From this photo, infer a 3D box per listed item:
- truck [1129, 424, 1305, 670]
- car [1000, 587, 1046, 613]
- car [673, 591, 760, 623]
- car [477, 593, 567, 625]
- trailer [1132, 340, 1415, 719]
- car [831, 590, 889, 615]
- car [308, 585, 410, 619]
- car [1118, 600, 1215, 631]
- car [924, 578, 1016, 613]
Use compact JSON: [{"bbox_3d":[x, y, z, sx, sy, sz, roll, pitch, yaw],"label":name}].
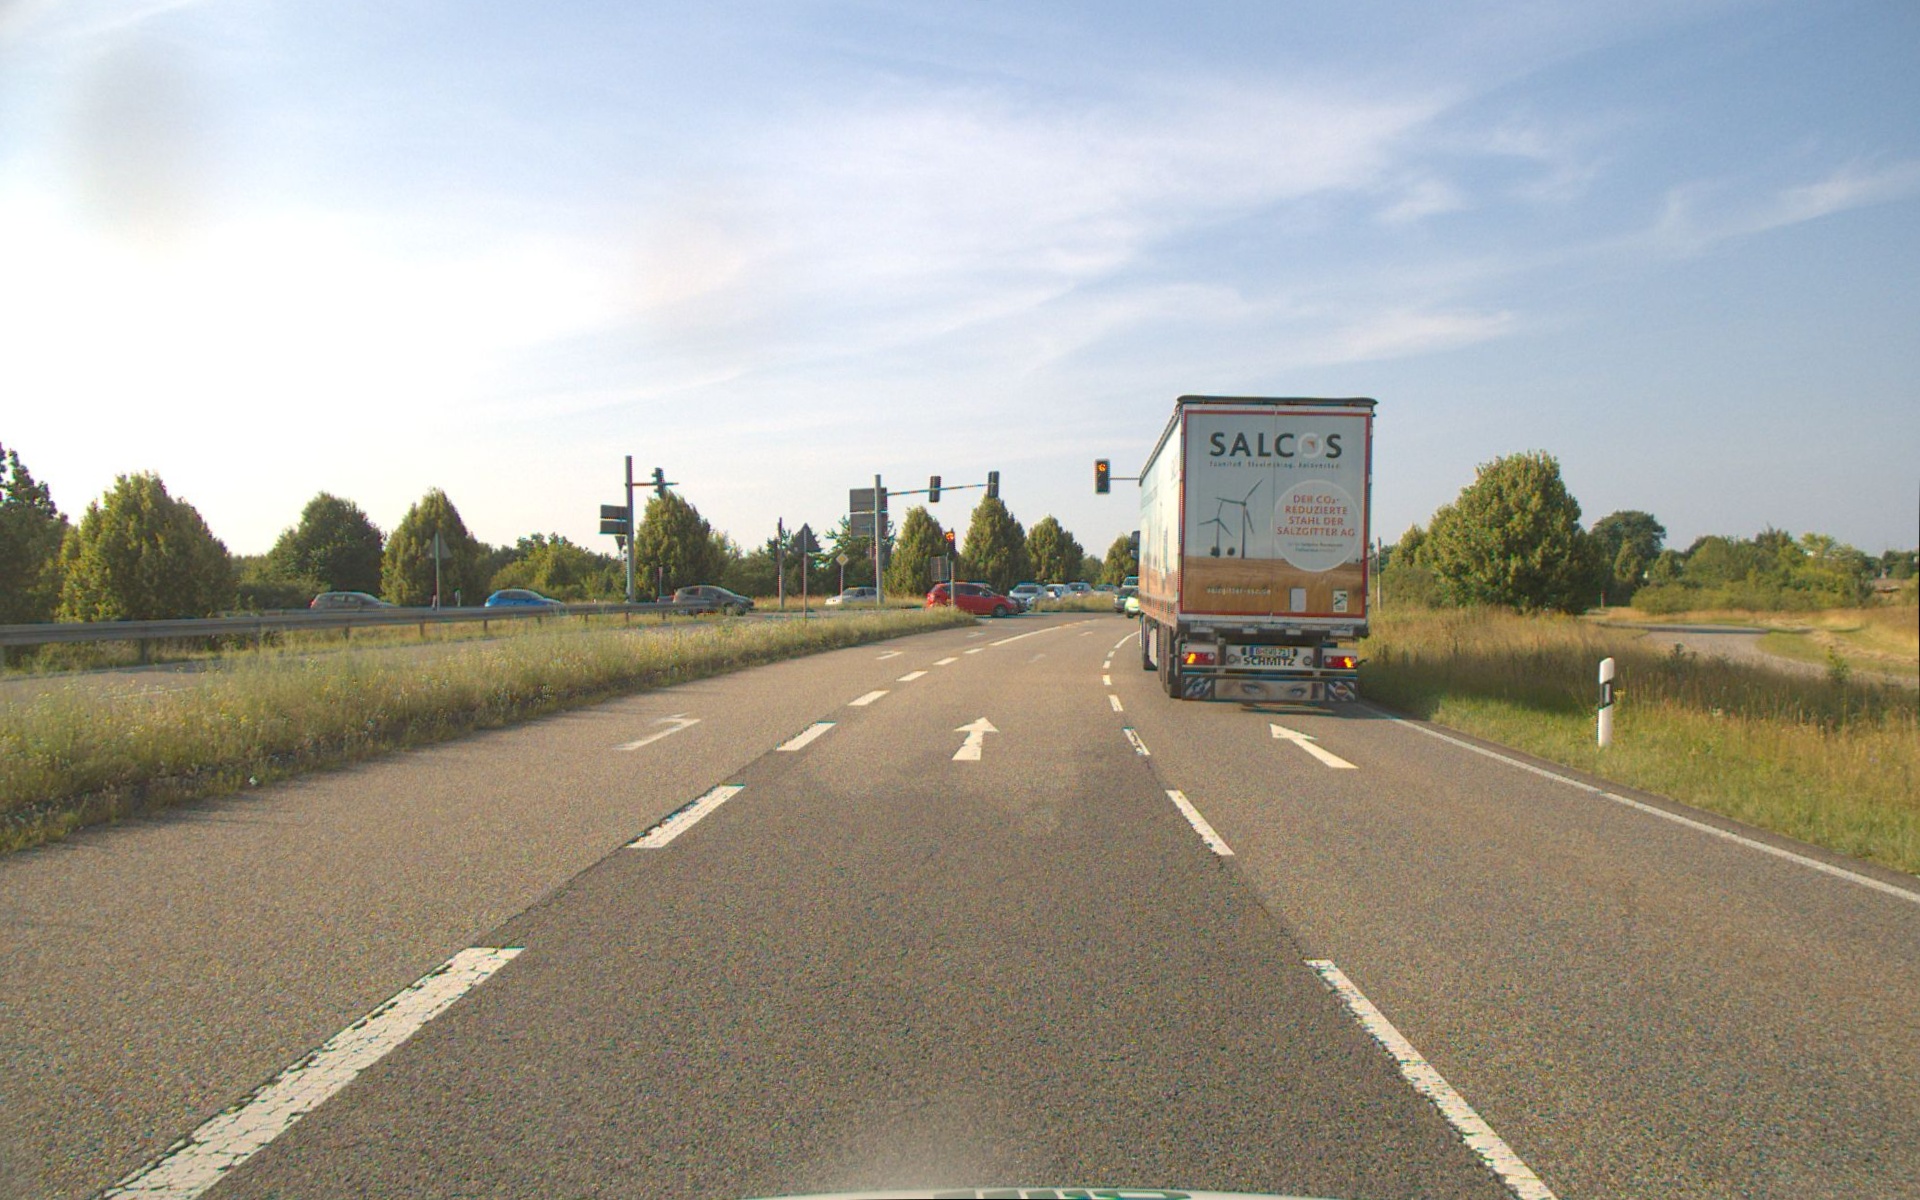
[{"bbox_3d":[5.284,-1.044,35.001,3.230,4.739,5.735,1,0,5],"label":"truck"},{"bbox_3d":[3.797,0.006,98.505,1.748,1.514,4.654,0,0,15],"label":"car"},{"bbox_3d":[-11.689,0.332,79.448,3.702,1.440,1.922,1,-1,7],"label":"car"},{"bbox_3d":[-21.610,0.412,81.623,3.887,1.518,1.780,0,0,13],"label":"car"},{"bbox_3d":[4.640,-0.954,27.507,3.212,4.763,13.155,1,0,5],"label":"trailer"},{"bbox_3d":[-6.110,0.139,100.780,3.144,1.518,1.764,0,1,-26],"label":"car"},{"bbox_3d":[-30.095,0.094,82.829,4.420,1.593,1.817,1,0,6],"label":"car"},{"bbox_3d":[10.227,0.779,81.930,4.351,1.442,1.911,1,-1,-17],"label":"car"},{"bbox_3d":[0.474,-0.189,78.857,4.182,1.592,1.898,1,-1,-7],"label":"car"}]
